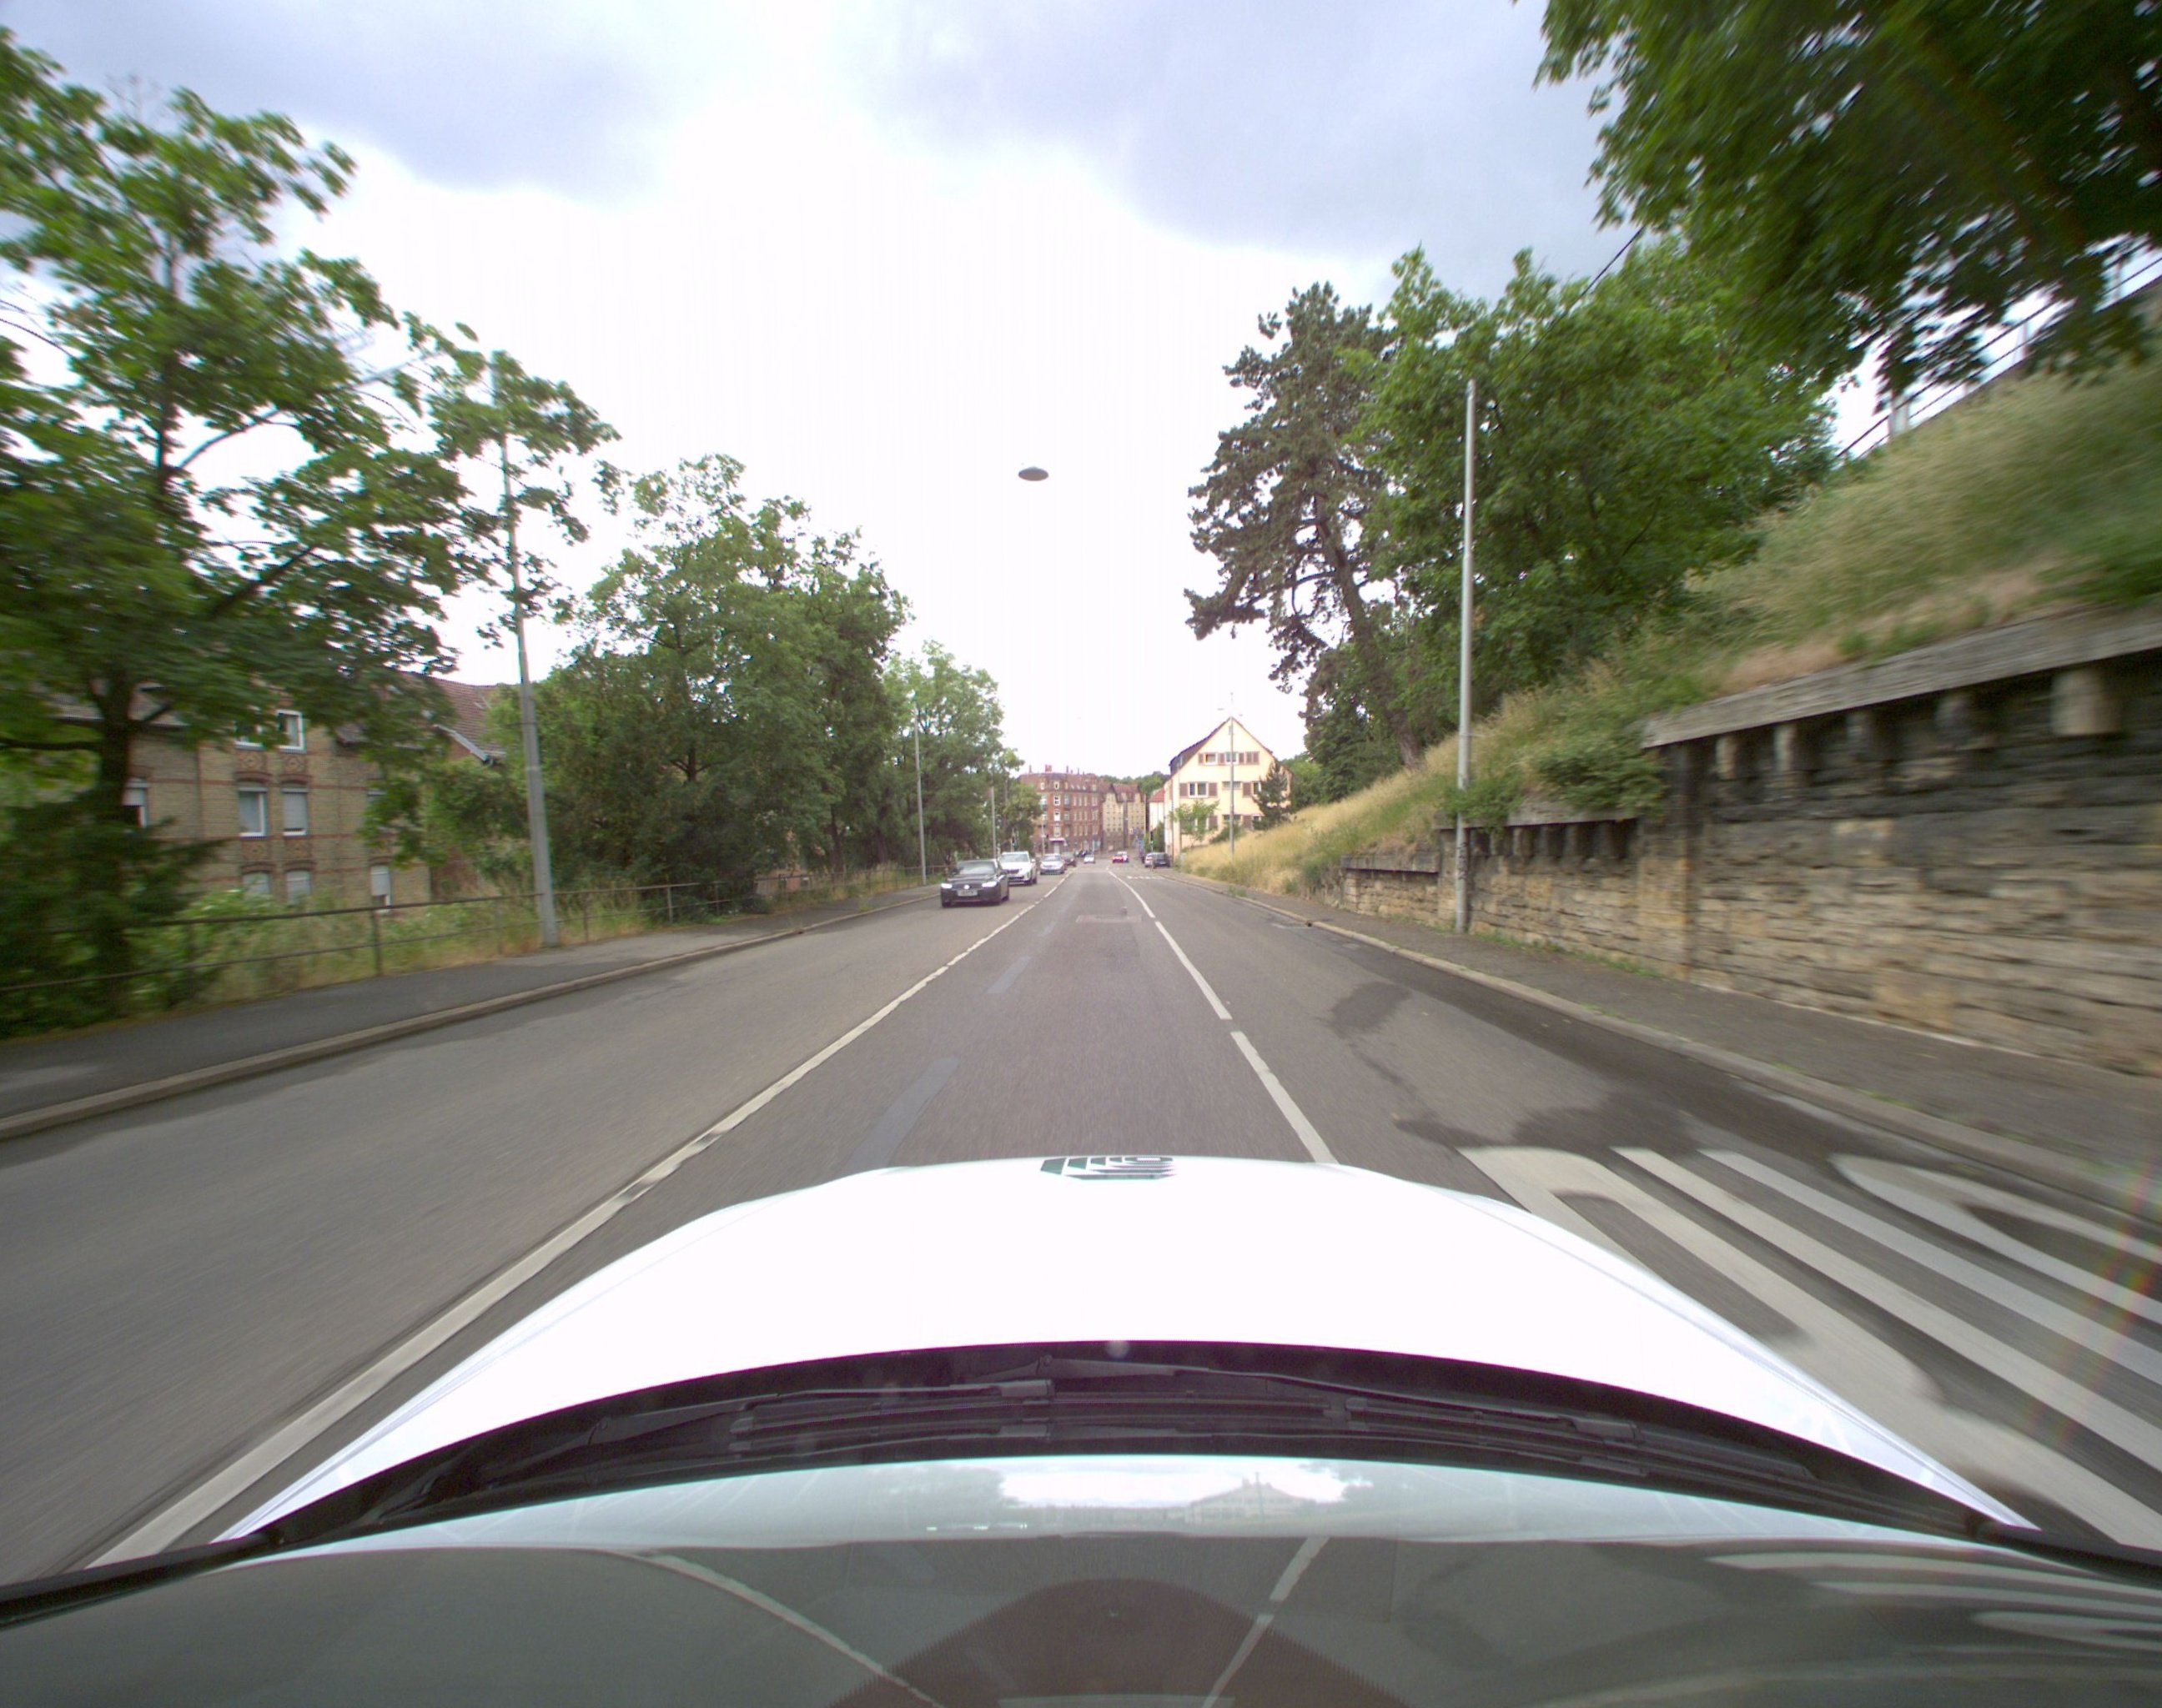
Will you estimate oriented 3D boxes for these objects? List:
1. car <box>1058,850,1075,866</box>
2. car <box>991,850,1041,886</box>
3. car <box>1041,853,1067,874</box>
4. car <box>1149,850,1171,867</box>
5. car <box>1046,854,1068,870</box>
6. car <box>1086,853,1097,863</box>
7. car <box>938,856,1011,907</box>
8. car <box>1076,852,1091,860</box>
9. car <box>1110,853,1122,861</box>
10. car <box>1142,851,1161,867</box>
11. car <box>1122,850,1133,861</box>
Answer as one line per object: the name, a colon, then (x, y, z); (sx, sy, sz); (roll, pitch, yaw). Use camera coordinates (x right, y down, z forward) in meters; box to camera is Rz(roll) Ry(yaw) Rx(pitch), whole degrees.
car: (-1.758, 0.497, 97.475); (1.777, 1.746, 4.430); (-2, 0, 2)
car: (-3.290, 0.678, 41.814); (1.988, 1.683, 4.665); (-2, 0, 2)
car: (-2.089, 0.718, 64.359); (1.777, 1.574, 4.281); (-2, 0, 1)
car: (7.540, 0.413, 77.884); (1.675, 1.451, 4.001); (-5, -1, 1)
car: (-2.276, 0.748, 78.424); (1.777, 1.459, 4.429); (-2, 0, 1)
car: (1.829, 0.675, 137.450); (1.714, 1.445, 4.159); (-2, 0, 1)
car: (-3.320, 0.816, 26.088); (1.707, 1.427, 4.139); (-2, 0, 1)
car: (0.589, 0.427, 182.179); (1.966, 1.575, 4.395); (-3, 0, 17)
car: (6.012, 0.522, 138.463); (1.807, 1.430, 4.007); (0, 0, 6)
car: (7.534, 0.507, 86.920); (1.786, 1.451, 4.725); (-4, 0, 5)
car: (8.294, 0.274, 145.184); (1.900, 1.884, 4.007); (0, 0, 6)
